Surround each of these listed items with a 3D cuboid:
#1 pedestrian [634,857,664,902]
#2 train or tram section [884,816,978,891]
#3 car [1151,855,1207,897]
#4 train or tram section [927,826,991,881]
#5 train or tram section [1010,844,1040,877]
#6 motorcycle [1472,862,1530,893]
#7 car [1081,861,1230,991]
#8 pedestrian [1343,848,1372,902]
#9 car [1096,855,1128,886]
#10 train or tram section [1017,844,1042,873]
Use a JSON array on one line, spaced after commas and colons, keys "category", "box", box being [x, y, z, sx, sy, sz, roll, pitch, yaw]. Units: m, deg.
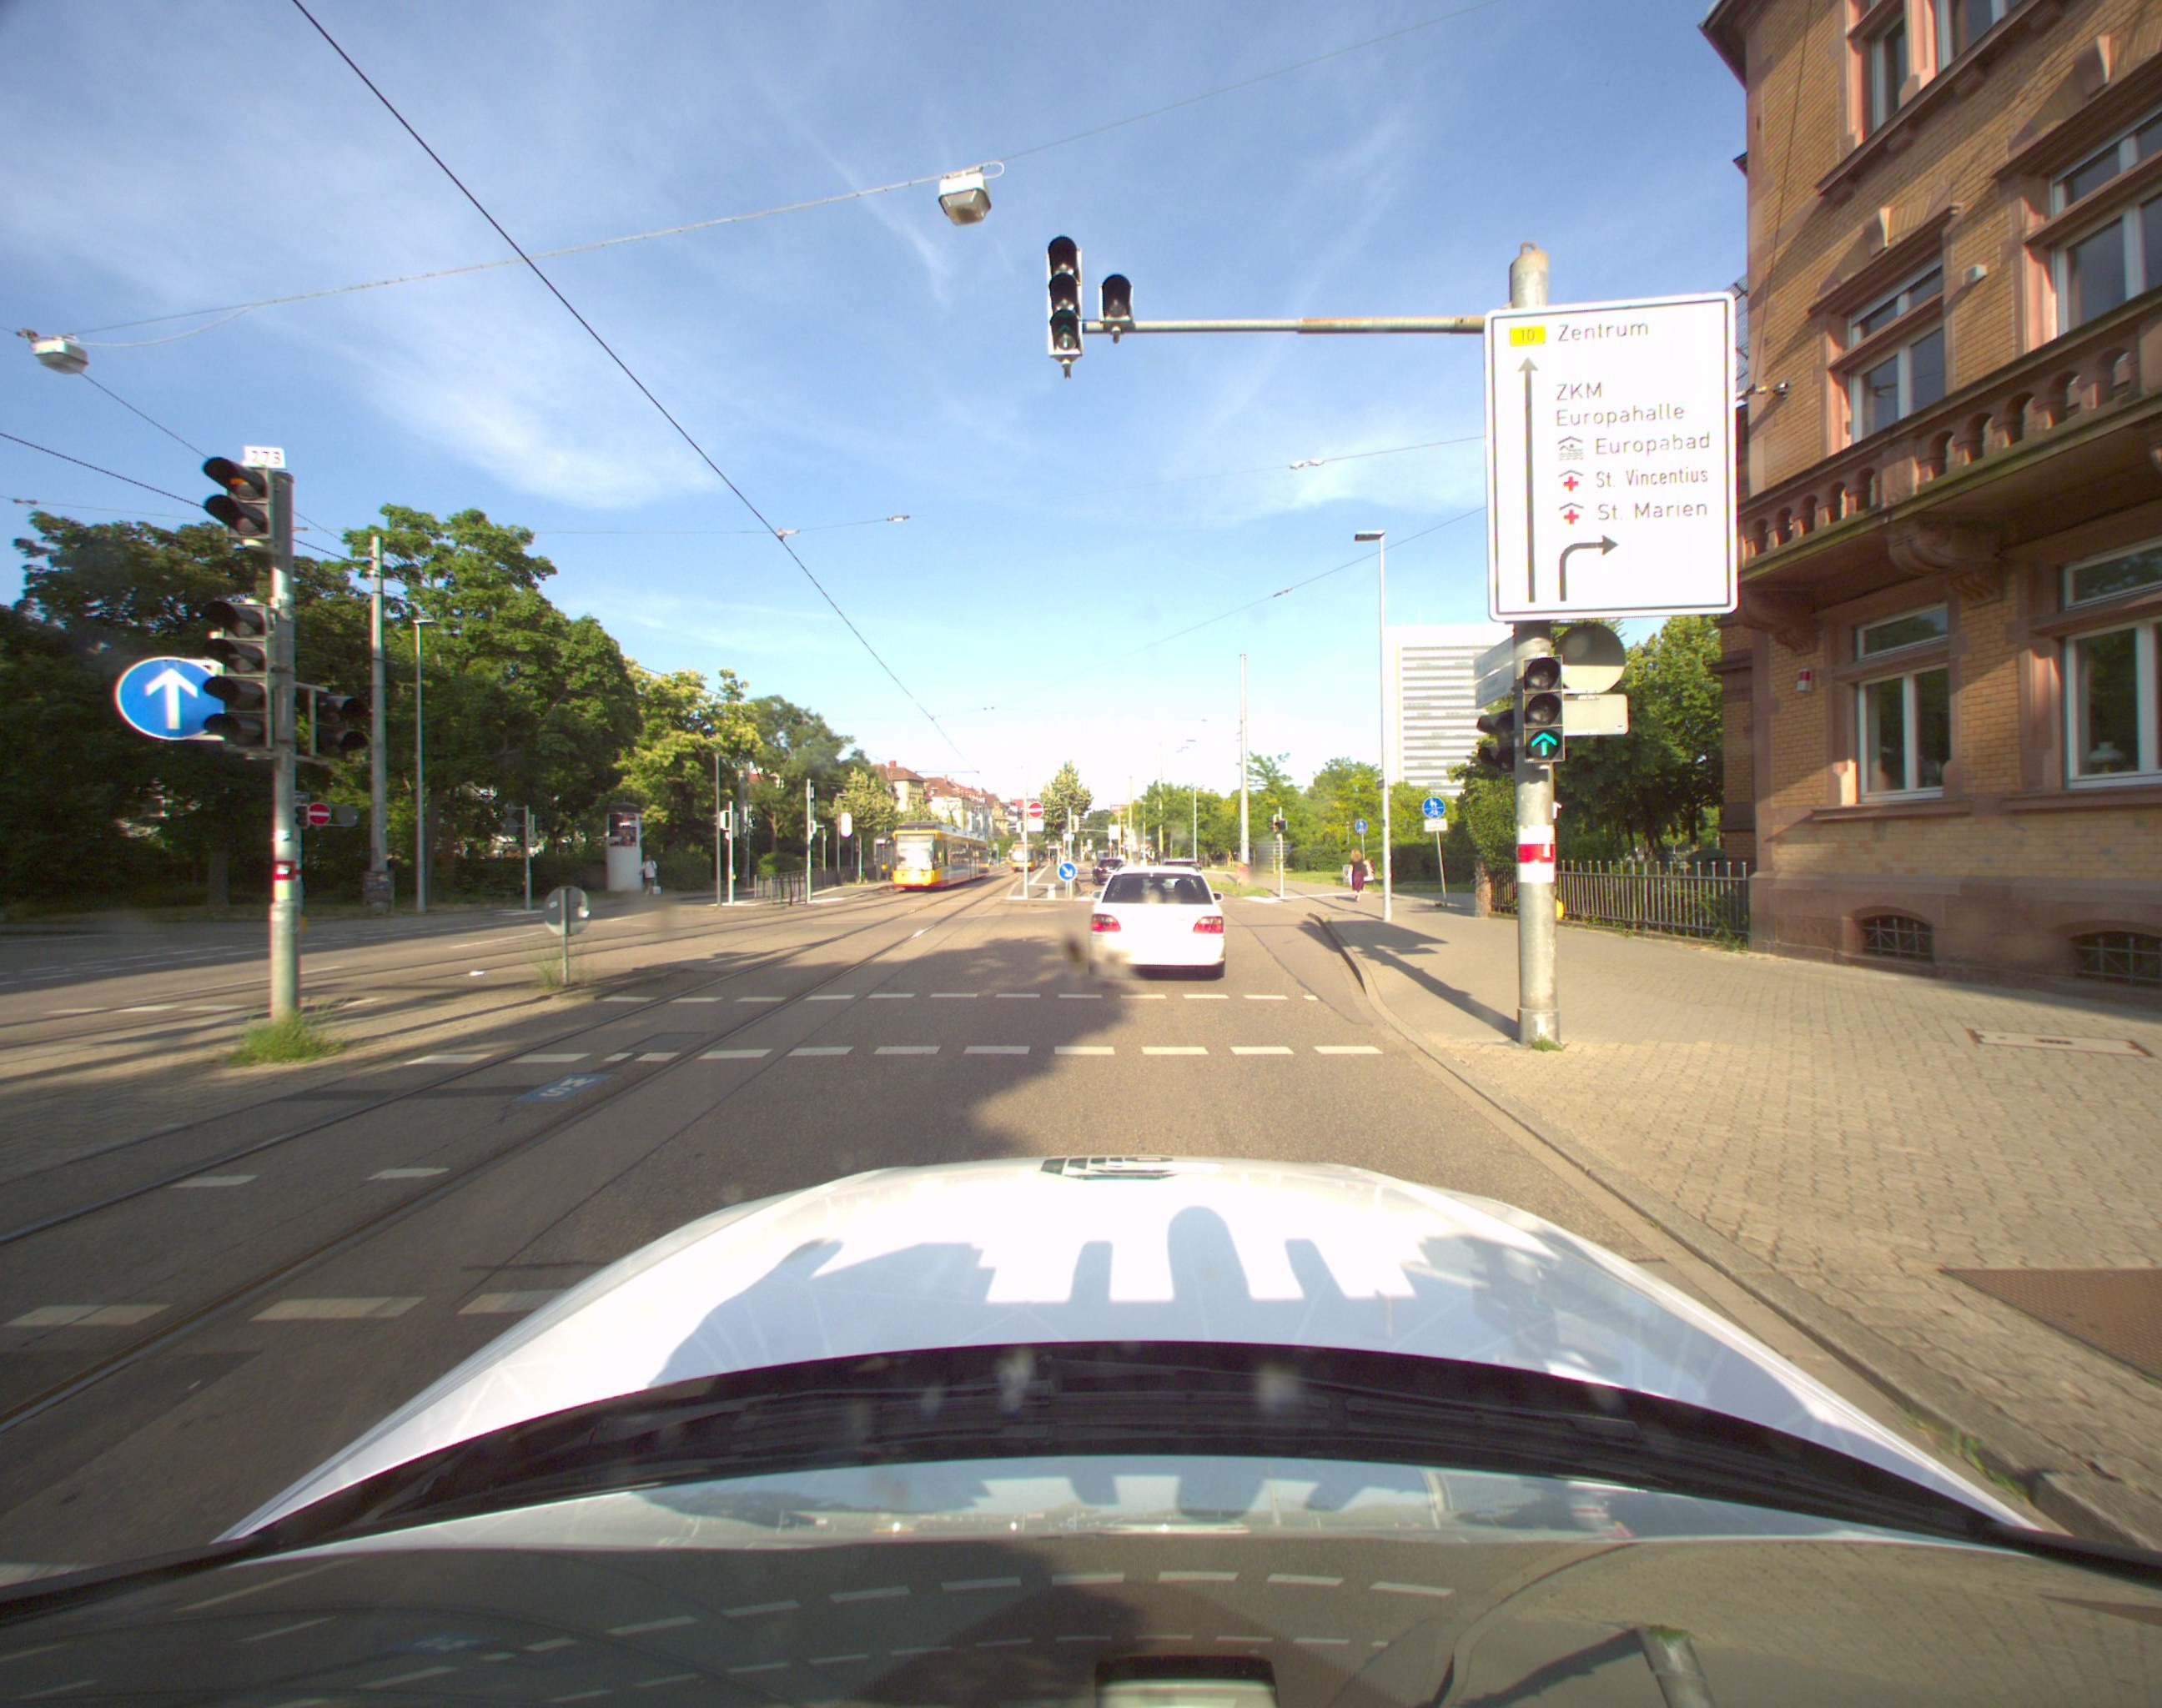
[{"category": "pedestrian", "box": [-18.761, 1.087, 35.381, 1.004, 1.909, 0.705, 0, 0, -15]}, {"category": "train or tram section", "box": [-7.859, -0.020, 44.865, 3.154, 3.479, 14.516, 0, 0, -3]}, {"category": "car", "box": [3.991, 0.870, 33.752, 2.025, 1.605, 4.002, 0, 0, 2]}, {"category": "train or tram section", "box": [-8.614, -0.041, 59.347, 3.154, 3.479, 14.456, 0, 0, -3]}, {"category": "train or tram section", "box": [-6.264, 0.636, 93.356, 2.842, 3.479, 13.191, 1, 0, -2]}, {"category": "motorcycle", "box": [16.277, 0.897, 31.575, 1.994, 1.159, 0.706, 0, 0, -8]}, {"category": "car", "box": [0.900, 0.869, 11.645, 1.752, 1.503, 4.000, -1, -1, 0]}, {"category": "pedestrian", "box": [8.944, 0.664, 26.331, 0.612, 1.692, 0.549, -5, 0, 2]}, {"category": "car", "box": [1.790, 0.914, 46.918, 1.780, 1.690, 4.003, 0, 0, 2]}, {"category": "train or tram section", "box": [-6.611, 0.563, 106.323, 2.842, 3.479, 13.191, 0, 0, -2]}]
